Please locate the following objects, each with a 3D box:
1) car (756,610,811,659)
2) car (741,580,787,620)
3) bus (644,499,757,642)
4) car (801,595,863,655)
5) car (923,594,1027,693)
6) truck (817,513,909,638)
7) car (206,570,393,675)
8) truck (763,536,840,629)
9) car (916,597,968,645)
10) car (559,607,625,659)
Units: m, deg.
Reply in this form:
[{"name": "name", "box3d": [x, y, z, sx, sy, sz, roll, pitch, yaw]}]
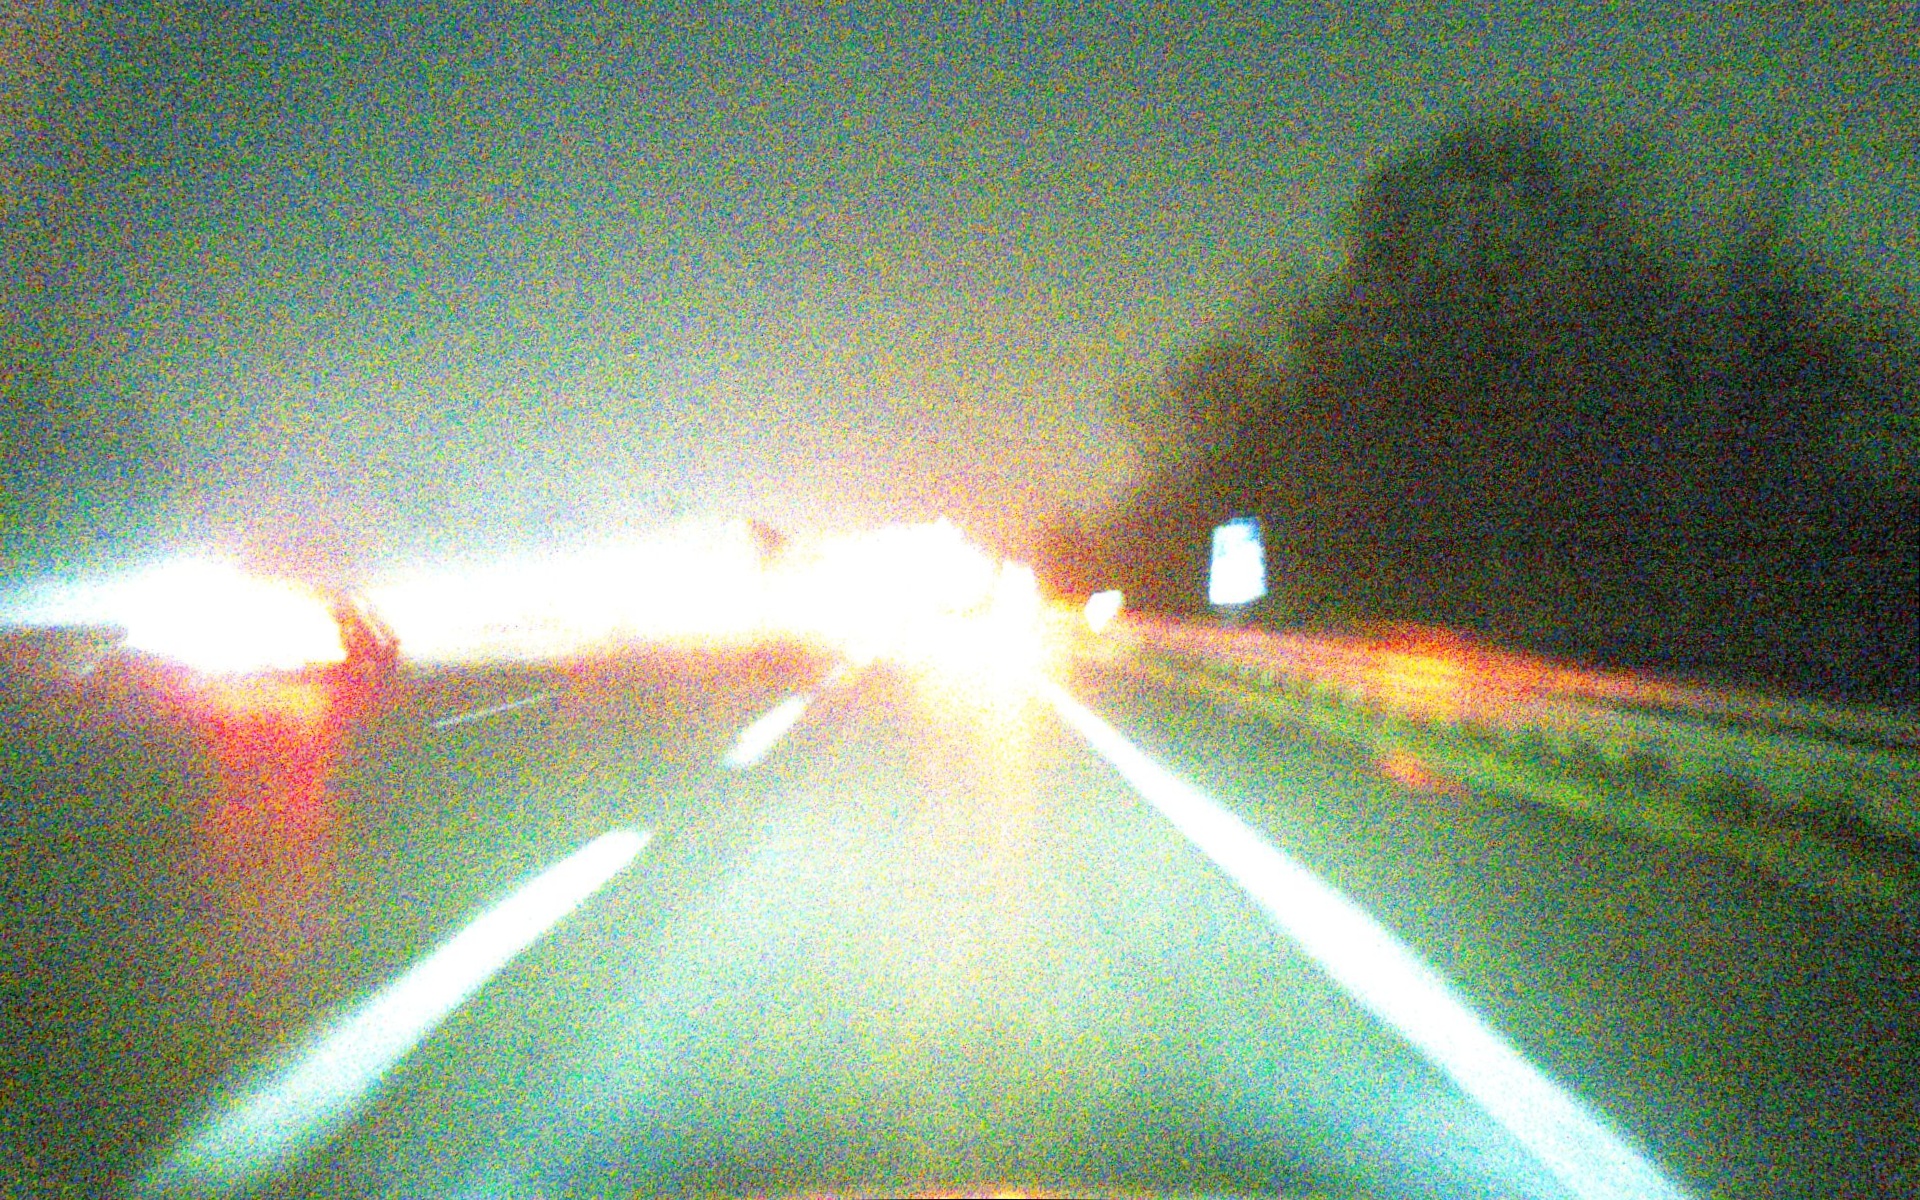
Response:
[{"name": "car", "box3d": [-6.883, 1.313, 64.703, 1.954, 1.839, 3.997, 1, 0, -4]}, {"name": "car", "box3d": [-9.369, 0.021, 79.319, 1.954, 1.839, 3.997, 1, 0, -4]}, {"name": "bus", "box3d": [-9.080, -0.930, 59.118, 3.036, 4.587, 10.903, 1, 0, -4]}, {"name": "car", "box3d": [-4.556, 0.876, 59.279, 2.084, 2.049, 4.642, 1, 0, -3]}, {"name": "car", "box3d": [0.256, 0.837, 33.440, 1.953, 1.839, 3.999, 1, 0, -1]}, {"name": "truck", "box3d": [-4.703, -1.109, 83.011, 4.125, 5.747, 11.463, 1, 0, -2]}, {"name": "car", "box3d": [-11.038, 0.362, 27.926, 1.956, 1.624, 3.993, 1, 0, -7]}, {"name": "truck", "box3d": [-10.236, -1.049, 108.361, 4.125, 5.747, 11.463, 1, 0, -2]}, {"name": "car", "box3d": [-0.846, 0.916, 74.386, 2.084, 2.049, 4.642, 1, 0, -3]}, {"name": "car", "box3d": [-12.461, 1.084, 56.242, 1.661, 1.679, 3.836, 1, 0, -5]}]
